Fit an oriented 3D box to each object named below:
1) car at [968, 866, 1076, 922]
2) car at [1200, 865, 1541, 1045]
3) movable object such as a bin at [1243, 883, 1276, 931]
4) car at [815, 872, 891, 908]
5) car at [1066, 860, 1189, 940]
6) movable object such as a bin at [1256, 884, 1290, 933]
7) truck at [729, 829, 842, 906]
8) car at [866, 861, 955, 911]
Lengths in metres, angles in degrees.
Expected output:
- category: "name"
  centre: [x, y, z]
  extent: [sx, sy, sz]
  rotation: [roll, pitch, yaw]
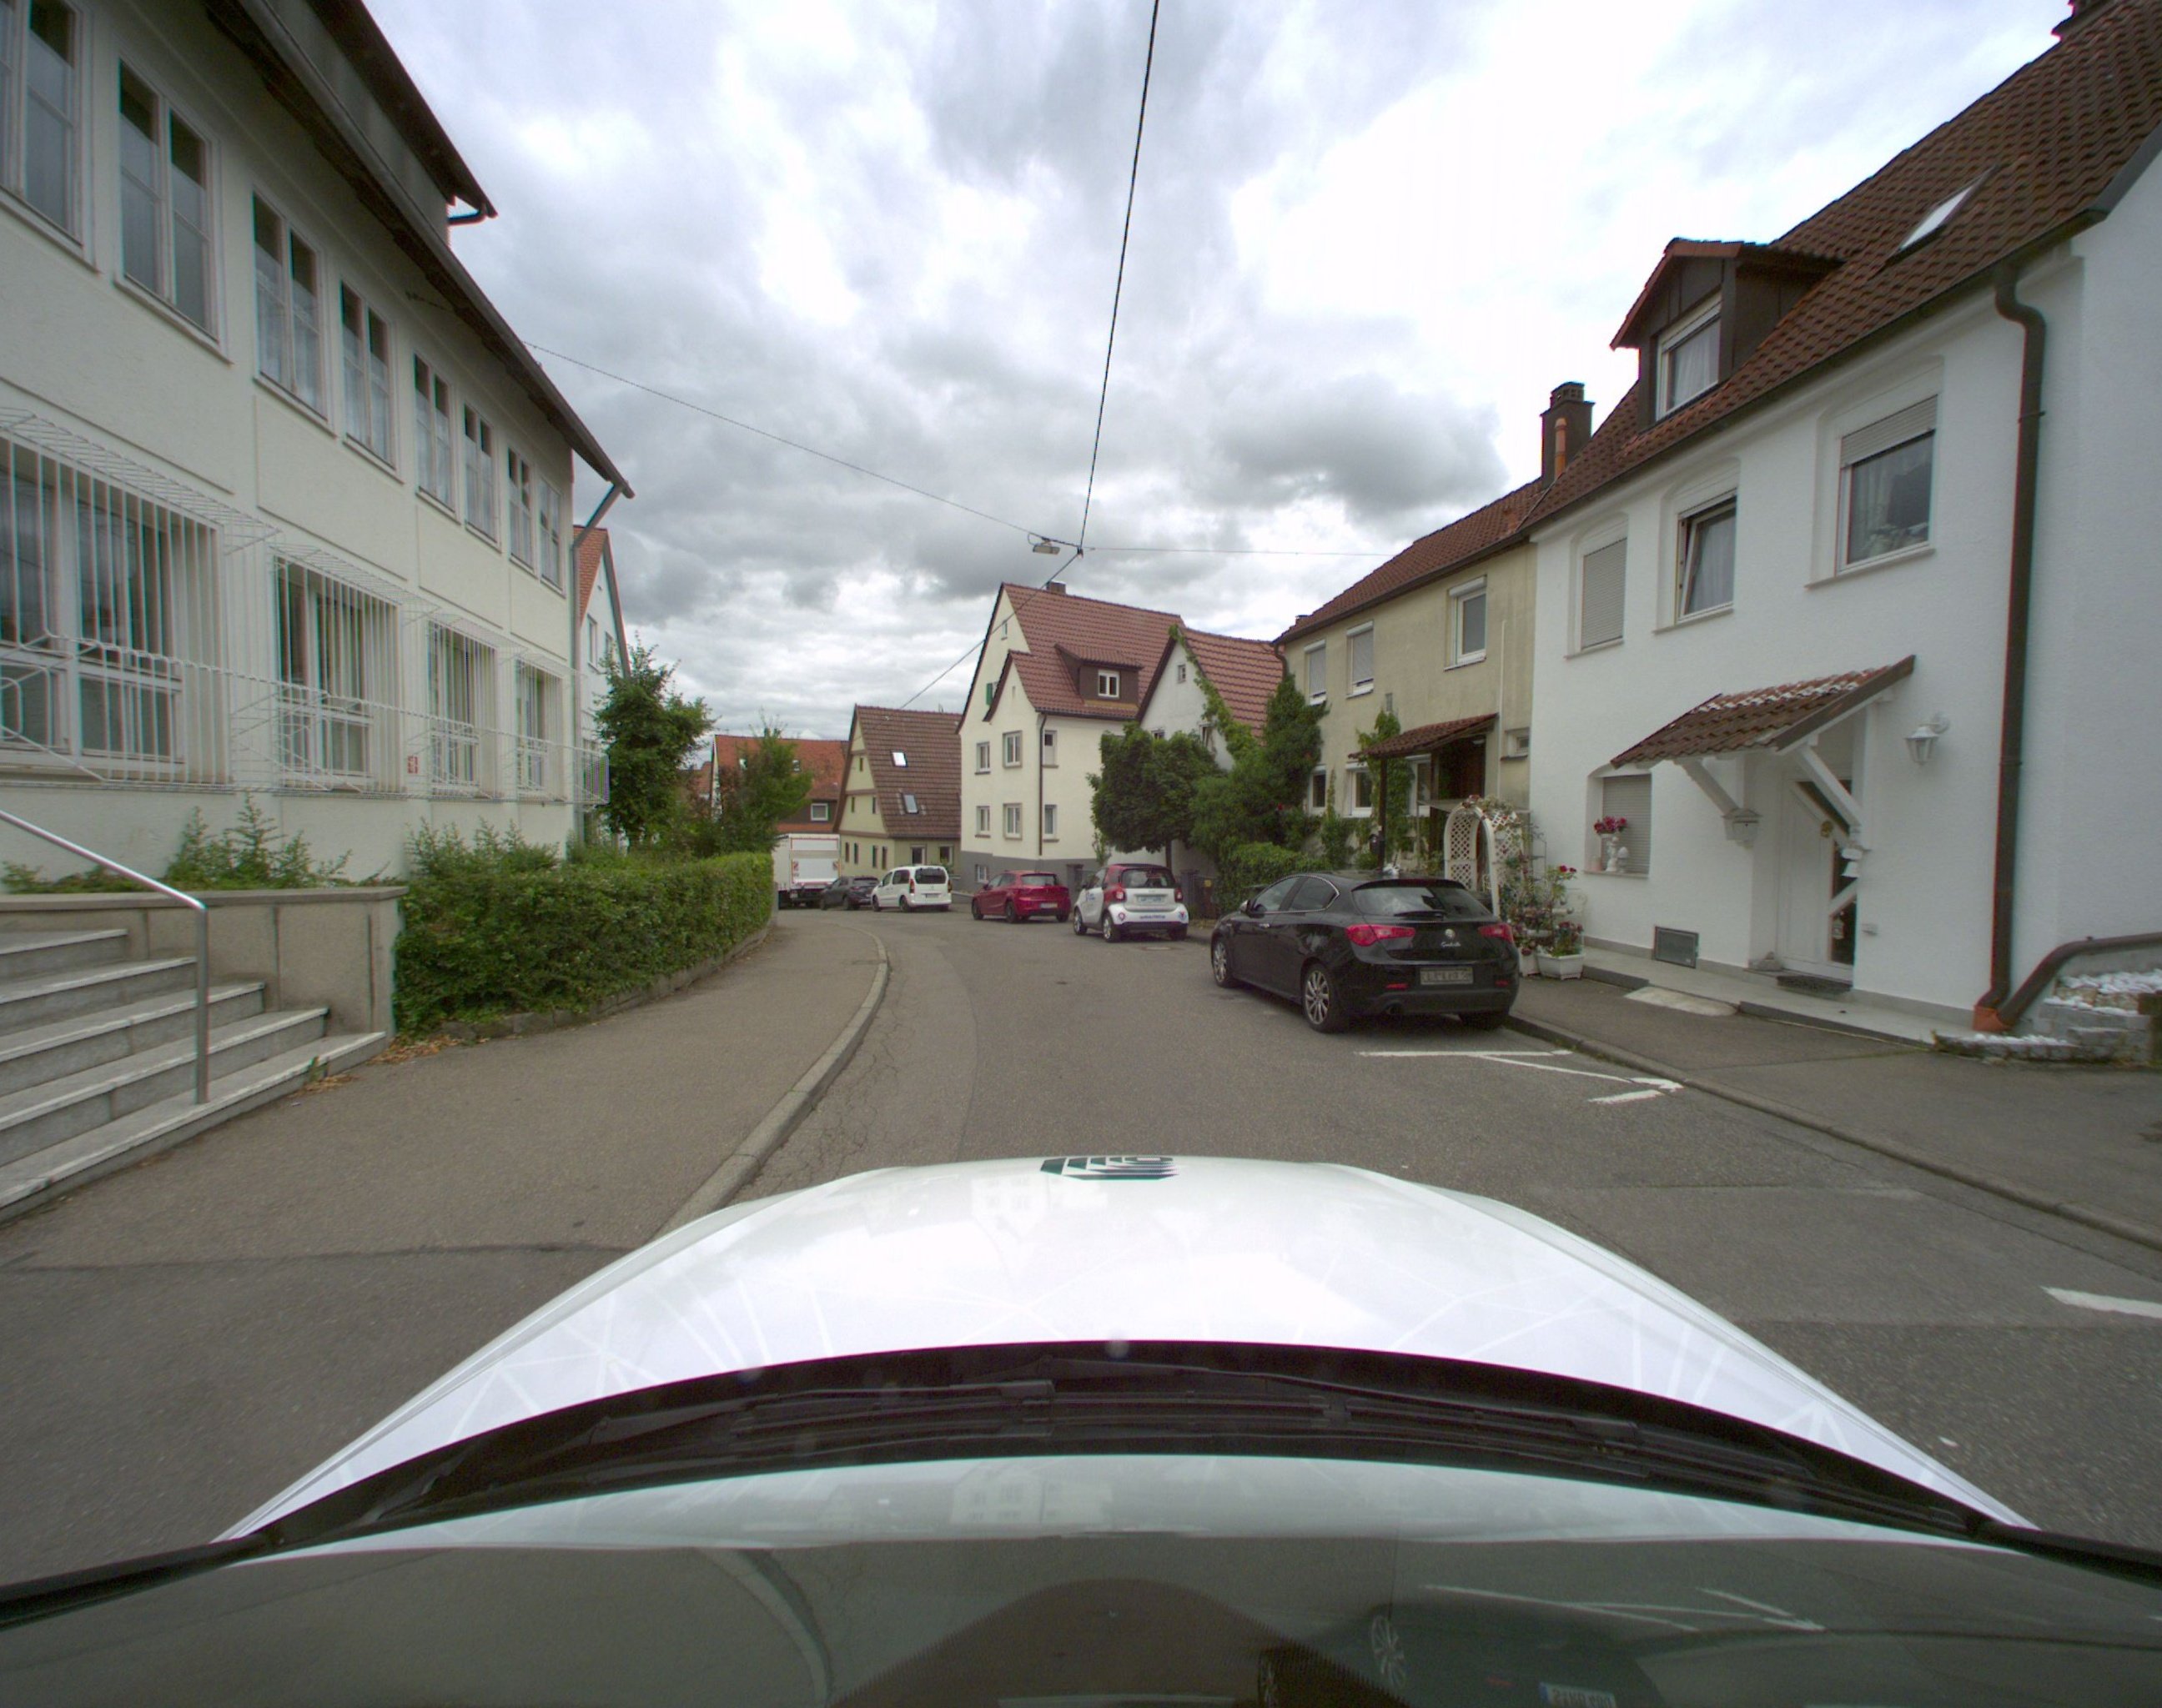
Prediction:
- category: "car"
  centre: [-1.784, 1.133, 23.440]
  extent: [1.689, 1.452, 3.815]
  rotation: [0, -2, -29]
- category: "car"
  centre: [2.709, 0.848, 8.683]
  extent: [1.718, 1.407, 3.989]
  rotation: [1, 0, -10]
- category: "movable object such as a bin"
  centre: [3.599, 1.065, 16.450]
  extent: [0.438, 0.913, 0.443]
  rotation: [-4, -2, -14]
- category: "car"
  centre: [-10.219, 1.630, 36.295]
  extent: [1.747, 1.506, 4.003]
  rotation: [1, -3, -40]
- category: "car"
  centre: [0.900, 0.929, 17.164]
  extent: [1.616, 1.532, 2.878]
  rotation: [1, -2, -19]
- category: "movable object such as a bin"
  centre: [3.768, 1.062, 15.977]
  extent: [0.438, 0.898, 0.443]
  rotation: [-4, -2, -14]
- category: "truck"
  centre: [-15.354, 0.786, 41.902]
  extent: [2.699, 3.597, 8.007]
  rotation: [0, -2, -42]
- category: "car"
  centre: [-6.796, 1.266, 32.153]
  extent: [1.849, 1.815, 4.255]
  rotation: [1, -2, -37]
